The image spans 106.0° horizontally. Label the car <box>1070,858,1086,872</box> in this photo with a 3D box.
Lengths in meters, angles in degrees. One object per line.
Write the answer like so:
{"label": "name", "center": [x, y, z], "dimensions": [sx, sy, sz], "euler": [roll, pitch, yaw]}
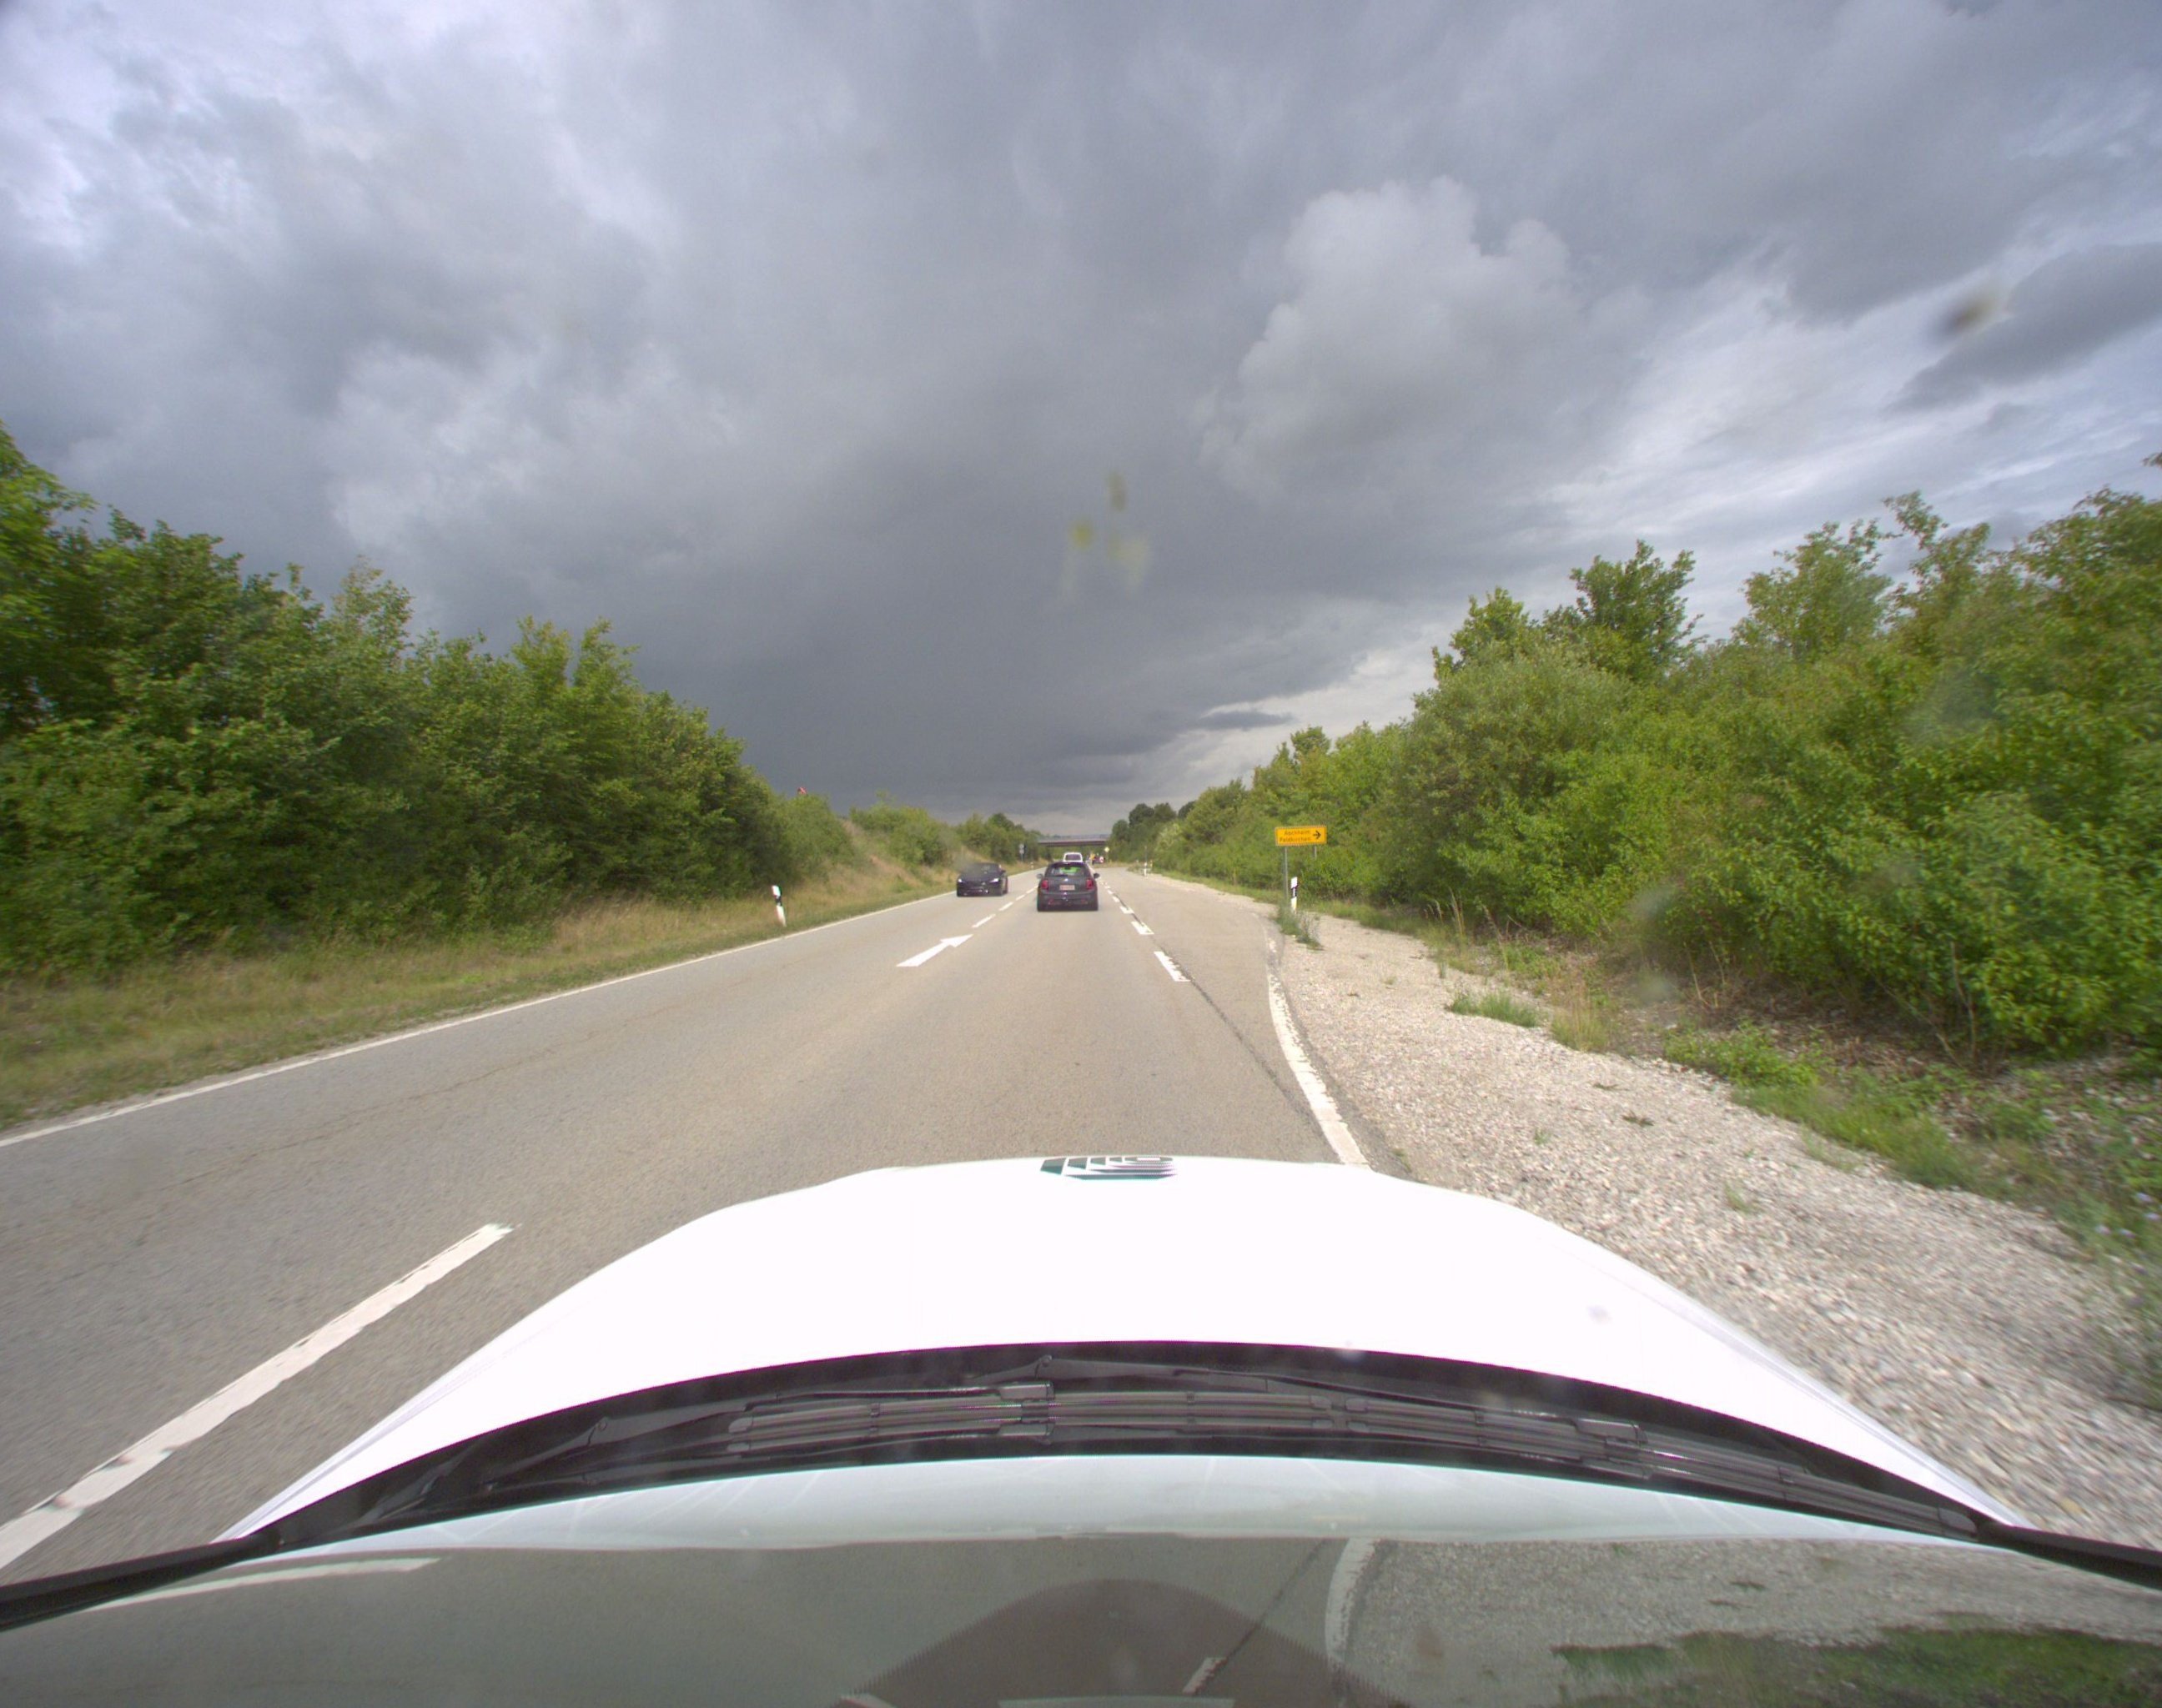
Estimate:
{"label": "car", "center": [-0.325, 1.325, 98.825], "dimensions": [1.812, 1.750, 4.001], "euler": [0, 0, 1]}

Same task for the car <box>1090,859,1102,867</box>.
{"label": "car", "center": [2.907, 1.748, 157.902], "dimensions": [1.988, 1.552, 3.997], "euler": [0, 0, -2]}

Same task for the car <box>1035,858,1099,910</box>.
{"label": "car", "center": [-0.384, 0.823, 24.438], "dimensions": [1.751, 1.427, 3.999], "euler": [0, 0, 0]}

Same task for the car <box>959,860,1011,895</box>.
{"label": "car", "center": [-3.943, 0.946, 34.114], "dimensions": [1.696, 1.330, 3.999], "euler": [-2, 0, -1]}

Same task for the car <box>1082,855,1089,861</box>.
{"label": "car", "center": [1.178, 1.121, 223.706], "dimensions": [1.660, 1.403, 4.003], "euler": [-1, 0, 3]}

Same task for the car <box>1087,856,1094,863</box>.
{"label": "car", "center": [2.339, 1.277, 202.429], "dimensions": [1.776, 1.706, 3.997], "euler": [0, 0, -2]}

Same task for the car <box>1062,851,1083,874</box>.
{"label": "car", "center": [-0.734, 0.732, 73.796], "dimensions": [1.814, 2.054, 3.999], "euler": [0, 0, 0]}
